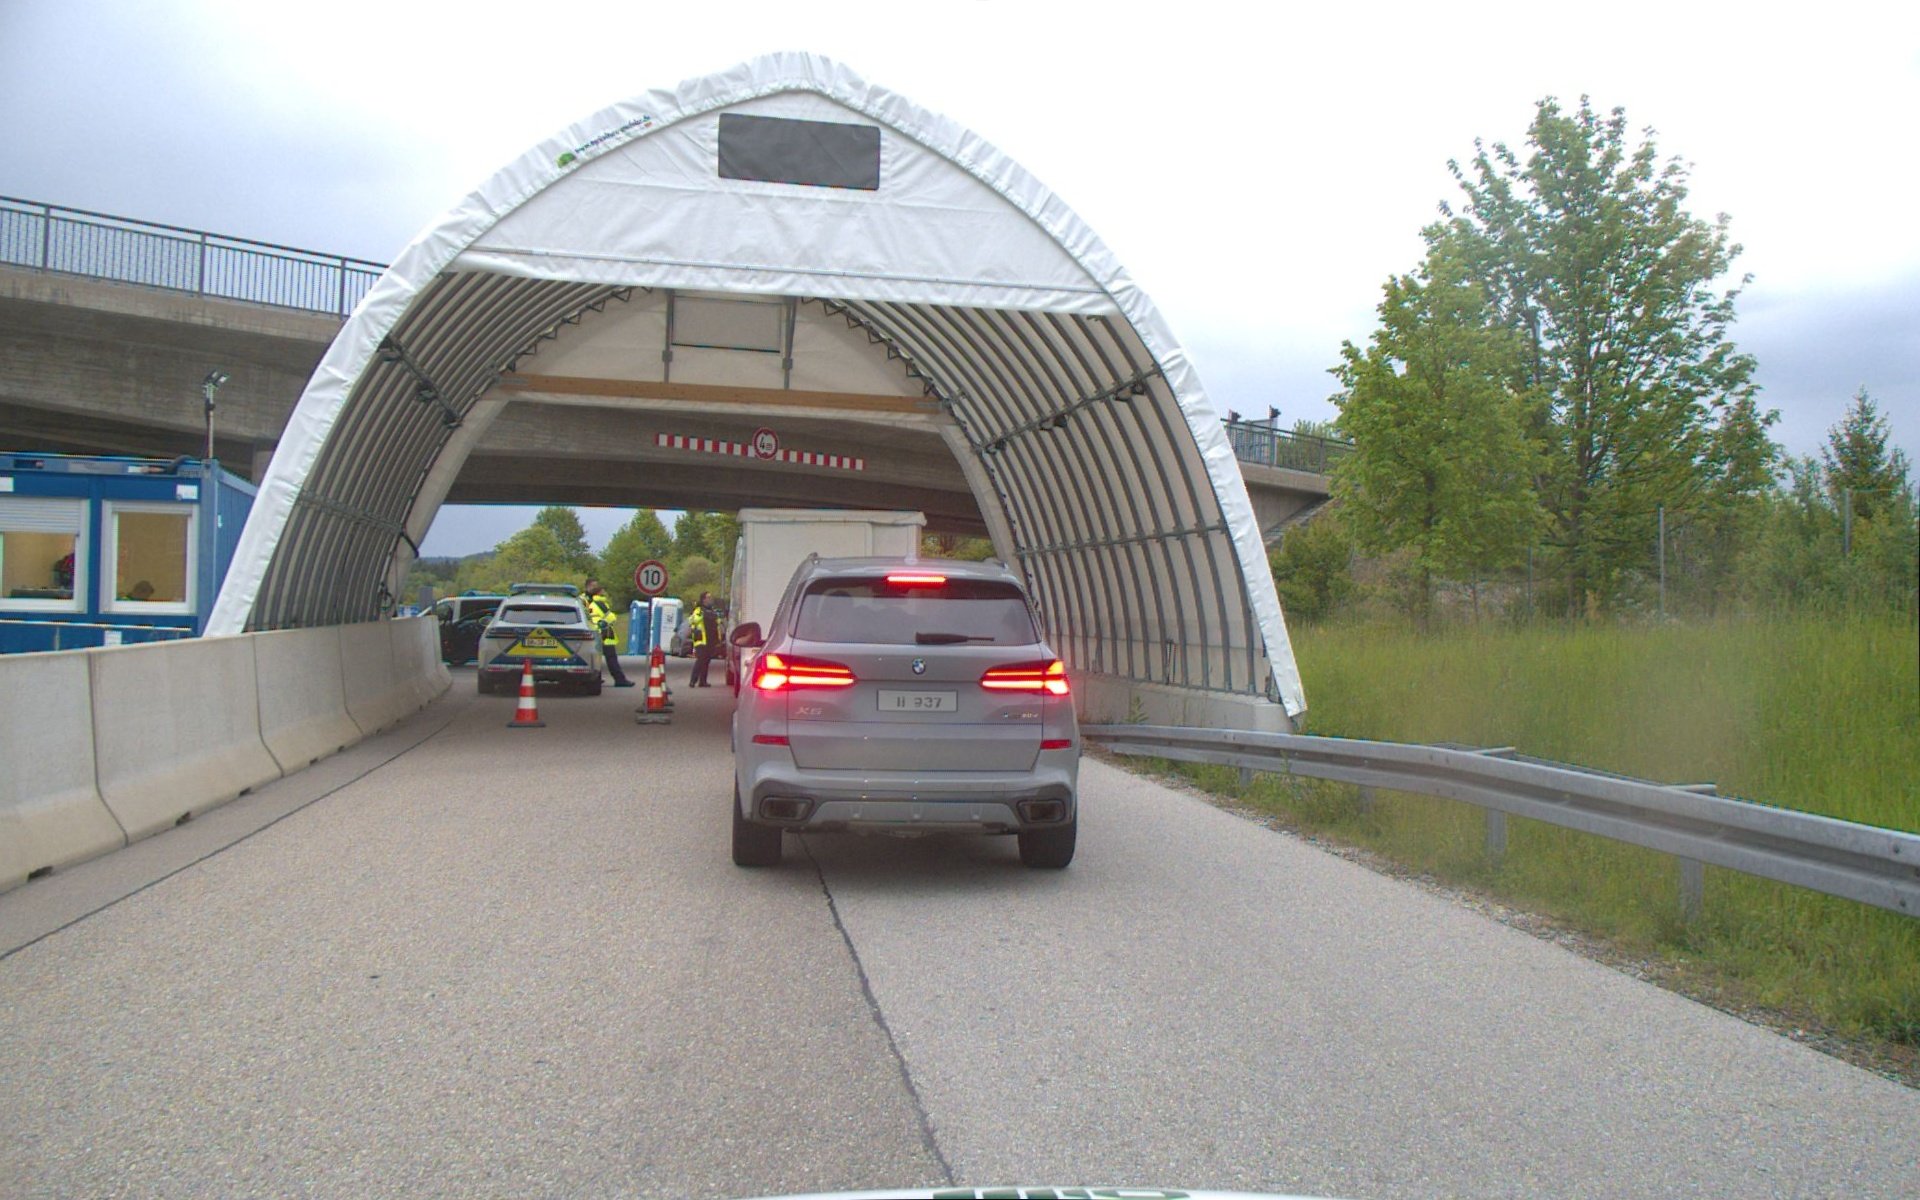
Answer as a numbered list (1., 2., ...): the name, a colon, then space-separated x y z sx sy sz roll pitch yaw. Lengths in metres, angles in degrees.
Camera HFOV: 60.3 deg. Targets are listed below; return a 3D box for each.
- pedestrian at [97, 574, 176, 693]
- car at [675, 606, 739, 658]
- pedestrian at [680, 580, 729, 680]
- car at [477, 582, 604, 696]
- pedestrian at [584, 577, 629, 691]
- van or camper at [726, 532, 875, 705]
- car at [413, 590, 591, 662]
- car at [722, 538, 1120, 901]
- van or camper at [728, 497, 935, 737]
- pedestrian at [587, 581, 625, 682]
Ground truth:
1. pedestrian: -9.848 0.397 19.794 0.597 1.397 0.628 0 -1 8
2. car: -8.933 1.100 58.252 1.959 1.752 3.883 0 0 -13
3. pedestrian: -4.525 0.526 29.297 0.742 1.752 0.778 0 -1 -18
4. car: -6.756 0.590 26.643 1.846 1.675 3.984 0 0 -15
5. pedestrian: -6.172 0.591 28.837 0.736 1.952 0.760 0 -1 -15
6. van or camper: -2.762 0.300 27.439 2.065 2.563 5.538 0 0 -10
7. car: -13.475 0.761 48.778 4.703 2.049 1.842 0 -1 7
8. car: -0.459 0.602 10.331 1.957 1.796 3.991 0 0 -9
9. van or camper: -1.853 0.205 21.378 2.189 2.597 6.597 0 0 -9
10. pedestrian: -6.368 0.564 29.778 0.597 1.784 0.665 0 -1 -6
